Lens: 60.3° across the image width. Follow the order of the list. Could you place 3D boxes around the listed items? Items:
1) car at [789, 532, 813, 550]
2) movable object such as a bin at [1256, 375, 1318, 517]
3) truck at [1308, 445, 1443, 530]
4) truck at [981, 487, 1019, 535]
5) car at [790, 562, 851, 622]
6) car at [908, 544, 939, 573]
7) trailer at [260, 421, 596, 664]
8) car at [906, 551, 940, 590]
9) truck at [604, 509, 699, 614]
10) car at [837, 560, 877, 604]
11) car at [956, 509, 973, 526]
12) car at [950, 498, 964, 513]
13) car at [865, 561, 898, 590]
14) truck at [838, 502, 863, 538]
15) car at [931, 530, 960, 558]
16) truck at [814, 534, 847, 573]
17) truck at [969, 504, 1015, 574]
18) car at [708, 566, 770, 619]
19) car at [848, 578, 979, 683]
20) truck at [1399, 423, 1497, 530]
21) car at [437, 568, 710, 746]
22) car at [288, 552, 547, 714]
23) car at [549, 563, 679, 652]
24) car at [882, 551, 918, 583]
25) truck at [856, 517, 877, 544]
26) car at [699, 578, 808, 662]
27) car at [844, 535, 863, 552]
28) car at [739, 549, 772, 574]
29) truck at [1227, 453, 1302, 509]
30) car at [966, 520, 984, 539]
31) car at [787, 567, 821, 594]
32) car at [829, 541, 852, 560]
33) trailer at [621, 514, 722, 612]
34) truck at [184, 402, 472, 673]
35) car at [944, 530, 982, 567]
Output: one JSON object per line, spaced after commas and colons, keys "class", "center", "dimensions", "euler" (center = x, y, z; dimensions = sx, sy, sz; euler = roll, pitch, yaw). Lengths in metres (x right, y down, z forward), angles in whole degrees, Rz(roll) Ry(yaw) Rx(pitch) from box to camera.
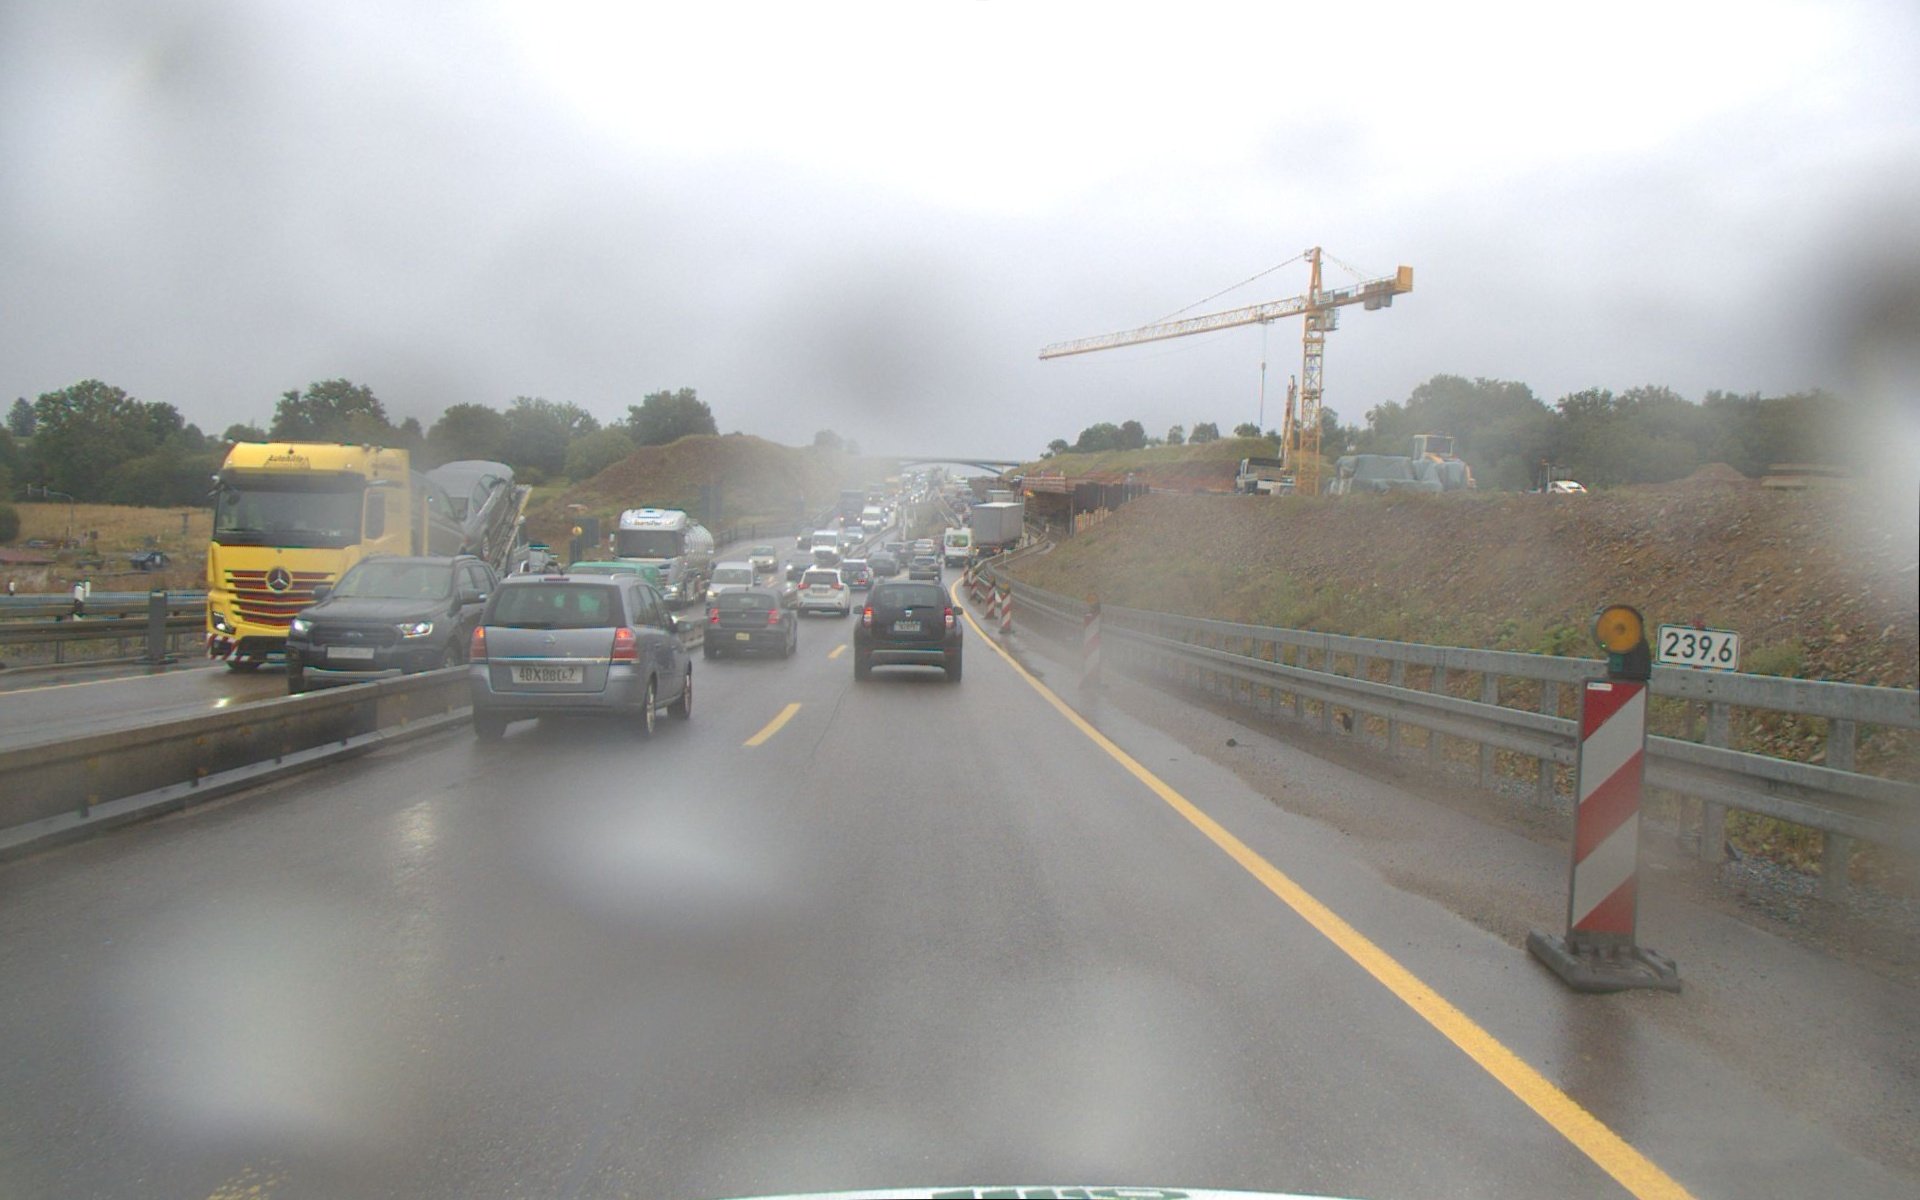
{"class": "car", "center": [-13.868, -5.144, 144.625], "dimensions": [1.751, 1.565, 4.311], "euler": [0, 1, -2]}
{"class": "movable object such as a bin", "center": [27.535, -12.725, 138.872], "dimensions": [4.618, 11.031, 10.312], "euler": [1, 0, 13]}
{"class": "truck", "center": [17.067, -4.561, 68.605], "dimensions": [3.326, 2.925, 8.959], "euler": [1, 0, 0]}
{"class": "truck", "center": [4.741, -10.666, 198.980], "dimensions": [3.727, 5.130, 12.916], "euler": [1, 0, -2]}
{"class": "car", "center": [-4.966, -0.288, 59.287], "dimensions": [1.953, 2.049, 3.892], "euler": [1, 0, -2]}
{"class": "car", "center": [-2.902, -3.266, 131.797], "dimensions": [1.951, 2.200, 4.143], "euler": [1, 0, 6]}
{"class": "trailer", "center": [-10.819, -1.056, 36.077], "dimensions": [2.694, 4.112, 15.355], "euler": [1, 0, -1]}
{"class": "car", "center": [-2.139, -1.693, 96.733], "dimensions": [1.953, 2.200, 4.140], "euler": [1, 0, -1]}
{"class": "truck", "center": [-11.695, -1.436, 63.198], "dimensions": [2.568, 3.741, 6.592], "euler": [1, 1, -2]}
{"class": "car", "center": [-5.374, -0.916, 85.728], "dimensions": [1.954, 2.200, 4.137], "euler": [1, 0, -5]}
{"class": "car", "center": [0.528, -10.275, 206.394], "dimensions": [1.953, 2.048, 4.000], "euler": [0, 2, -2]}
{"class": "car", "center": [-0.483, -13.881, 243.336], "dimensions": [1.953, 2.049, 3.998], "euler": [1, 0, -2]}
{"class": "car", "center": [-5.026, -1.554, 106.341], "dimensions": [1.953, 1.792, 3.814], "euler": [1, 0, -1]}
{"class": "truck", "center": [-12.669, -9.328, 192.077], "dimensions": [2.589, 4.038, 9.211], "euler": [1, 3, -3]}
{"class": "car", "center": [-1.217, -4.782, 141.458], "dimensions": [1.951, 2.200, 4.144], "euler": [1, 0, 7]}
{"class": "truck", "center": [-9.332, -3.325, 119.548], "dimensions": [2.037, 2.621, 5.960], "euler": [1, 0, -2]}
{"class": "truck", "center": [2.739, -5.001, 138.421], "dimensions": [3.036, 5.520, 9.450], "euler": [1, 0, 6]}
{"class": "car", "center": [-8.087, -0.287, 60.843], "dimensions": [1.828, 1.831, 4.161], "euler": [1, 1, -2]}
{"class": "car", "center": [-0.768, 0.467, 28.309], "dimensions": [2.039, 1.628, 4.140], "euler": [1, 0, -1]}
{"class": "truck", "center": [21.555, -5.379, 73.324], "dimensions": [2.325, 4.292, 5.977], "euler": [1, 0, -2]}
{"class": "car", "center": [-3.914, 0.514, 17.495], "dimensions": [1.953, 1.628, 4.140], "euler": [1, 0, -1]}
{"class": "car", "center": [-6.820, 0.355, 21.422], "dimensions": [1.751, 1.837, 5.188], "euler": [0, 0, -2]}
{"class": "car", "center": [-7.545, 0.121, 36.513], "dimensions": [1.953, 1.789, 4.686], "euler": [1, 1, -2]}
{"class": "car", "center": [-4.251, -2.346, 117.861], "dimensions": [1.951, 2.200, 4.143], "euler": [1, 0, 6]}
{"class": "truck", "center": [-9.974, -7.466, 177.207], "dimensions": [2.104, 2.760, 6.015], "euler": [1, 2, -2]}
{"class": "car", "center": [-4.245, 0.377, 34.566], "dimensions": [1.954, 1.628, 4.138], "euler": [1, 0, -3]}
{"class": "car", "center": [-9.931, -5.297, 154.561], "dimensions": [1.643, 1.550, 4.344], "euler": [0, 2, -2]}
{"class": "car", "center": [-13.252, -2.487, 107.288], "dimensions": [1.752, 1.573, 3.999], "euler": [1, 1, -2]}
{"class": "truck", "center": [16.728, -6.516, 91.290], "dimensions": [2.592, 2.599, 6.982], "euler": [1, 0, -2]}
{"class": "car", "center": [1.668, -7.876, 185.158], "dimensions": [1.953, 2.048, 4.000], "euler": [0, 2, -2]}
{"class": "car", "center": [-9.312, -1.174, 98.937], "dimensions": [1.737, 1.530, 4.677], "euler": [0, 1, -2]}
{"class": "car", "center": [-10.031, -4.147, 139.425], "dimensions": [1.751, 1.565, 4.311], "euler": [0, 1, -2]}
{"class": "trailer", "center": [-11.959, -1.508, 69.682], "dimensions": [2.568, 3.741, 11.999], "euler": [1, 1, -2]}
{"class": "truck", "center": [-10.649, -0.991, 28.575], "dimensions": [2.694, 4.133, 6.146], "euler": [1, 0, -2]}
{"class": "car", "center": [0.241, -3.722, 120.196], "dimensions": [1.951, 2.527, 4.986], "euler": [1, 0, 10]}
